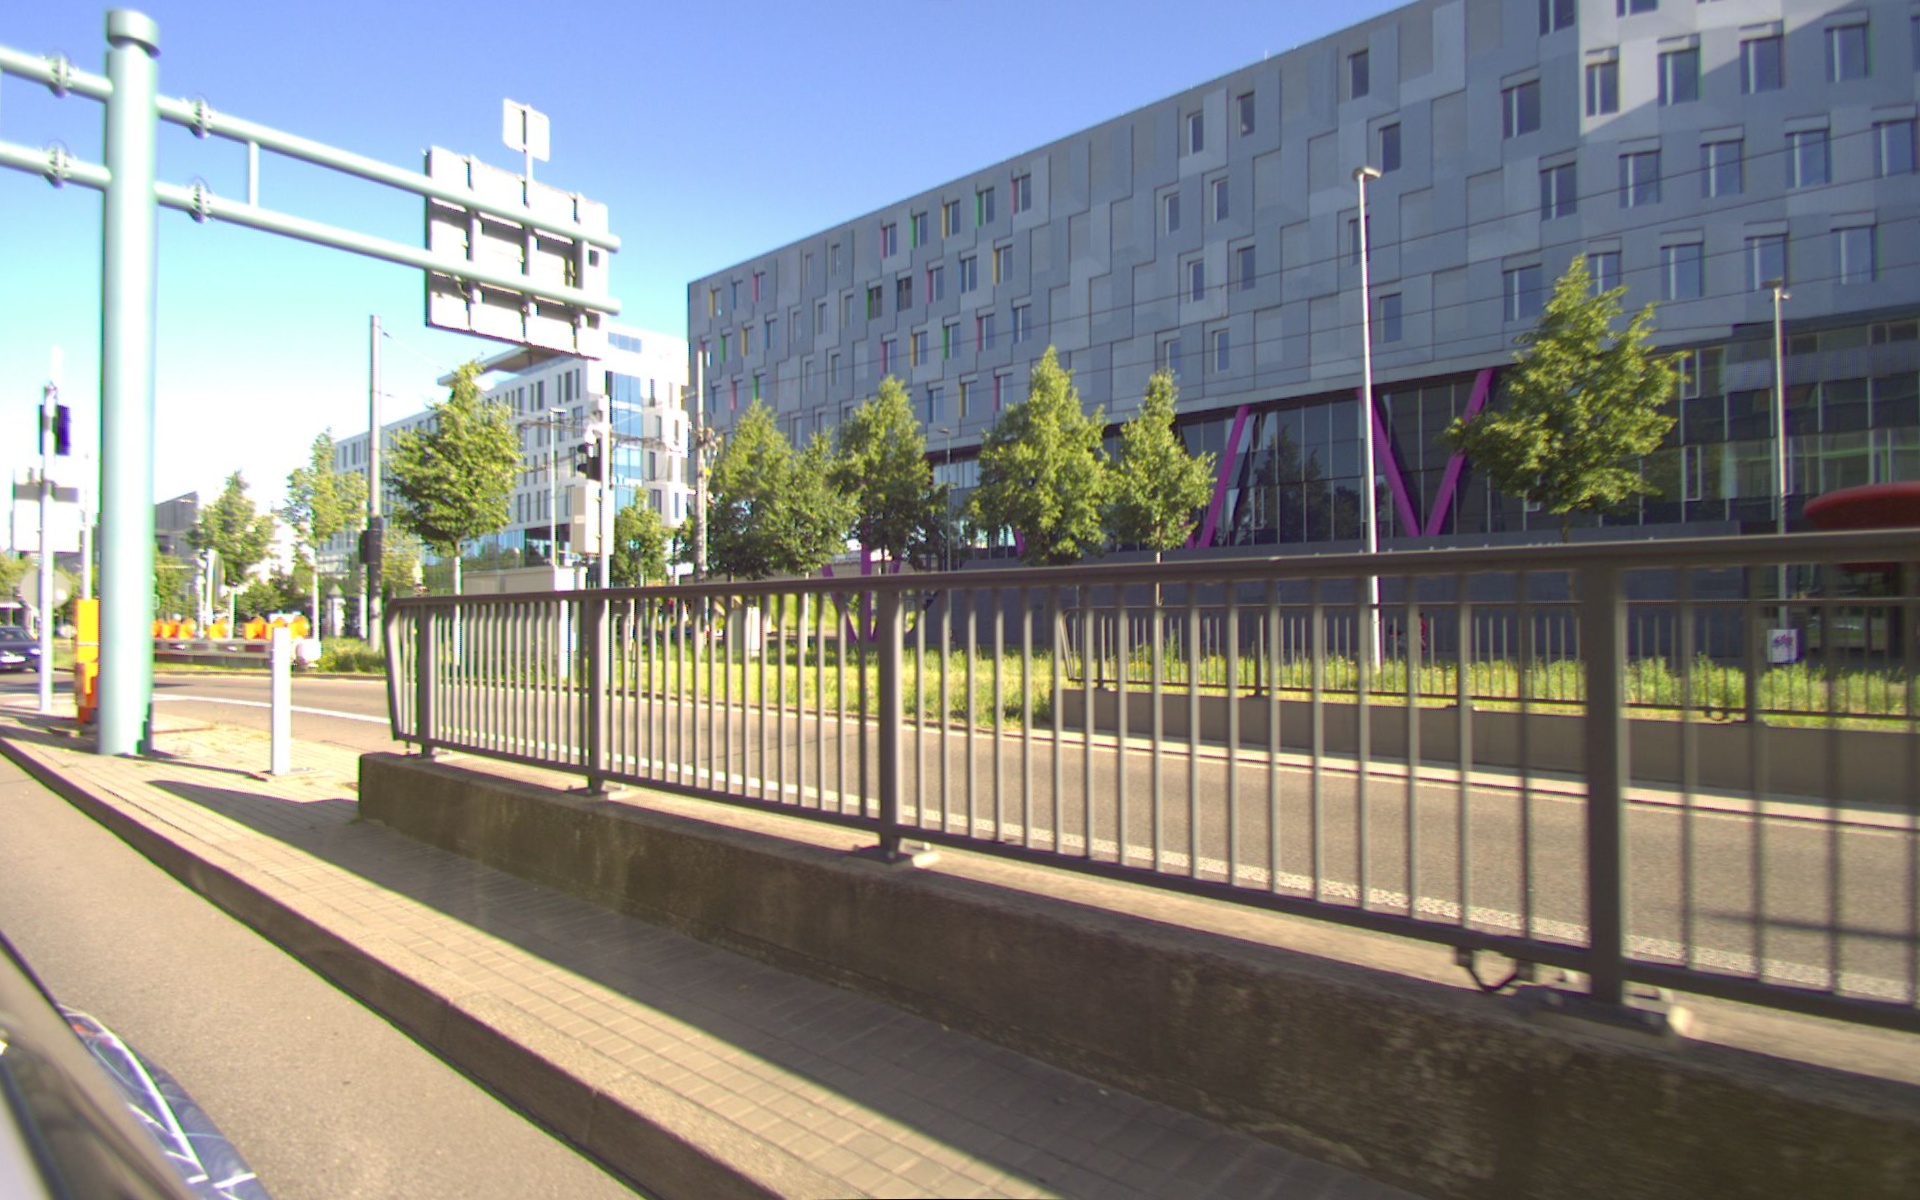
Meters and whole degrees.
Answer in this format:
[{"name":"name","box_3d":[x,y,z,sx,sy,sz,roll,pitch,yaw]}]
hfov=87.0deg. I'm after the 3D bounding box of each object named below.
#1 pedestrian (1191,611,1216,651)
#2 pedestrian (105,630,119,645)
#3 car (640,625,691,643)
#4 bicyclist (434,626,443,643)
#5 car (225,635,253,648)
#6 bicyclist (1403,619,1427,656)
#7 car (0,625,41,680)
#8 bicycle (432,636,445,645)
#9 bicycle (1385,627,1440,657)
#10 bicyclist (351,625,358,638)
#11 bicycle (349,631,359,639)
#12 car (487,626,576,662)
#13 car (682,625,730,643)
[{"name":"pedestrian","box_3d":[11.459,1.459,47.694,0.871,1.836,0.713,-2,-2,42]},{"name":"pedestrian","box_3d":[-88.878,3.948,106.026,1.053,1.477,0.845,-1,-1,-44]},{"name":"car","box_3d":[-26.446,3.059,90.847,2.001,1.577,3.942,-2,-2,44]},{"name":"bicyclist","box_3d":[-51.847,3.441,100.613,0.837,1.739,0.524,-3,-2,43]},{"name":"car","box_3d":[-89.230,5.123,125.251,4.340,1.538,1.780,-2,0,40]},{"name":"bicyclist","box_3d":[18.776,1.544,41.752,0.763,1.507,0.552,-2,-2,41]},{"name":"car","box_3d":[-29.401,1.591,30.628,4.340,1.538,1.780,-2,0,40]},{"name":"bicycle","box_3d":[-51.854,4.051,100.610,1.833,0.869,0.522,-2,-2,43]},{"name":"bicycle","box_3d":[18.502,1.705,41.432,1.974,1.181,0.514,-2,-2,41]},{"name":"bicyclist","box_3d":[-67.365,3.531,112.604,0.552,1.434,0.476,-2,-2,40]},{"name":"bicycle","box_3d":[-67.403,3.924,112.626,1.691,0.869,0.476,-2,-2,41]},{"name":"car","box_3d":[-20.500,2.086,48.319,4.868,1.574,1.973,-2,-2,40]},{"name":"car","box_3d":[-24.346,3.249,97.063,2.001,1.577,3.942,-2,-2,44]}]
